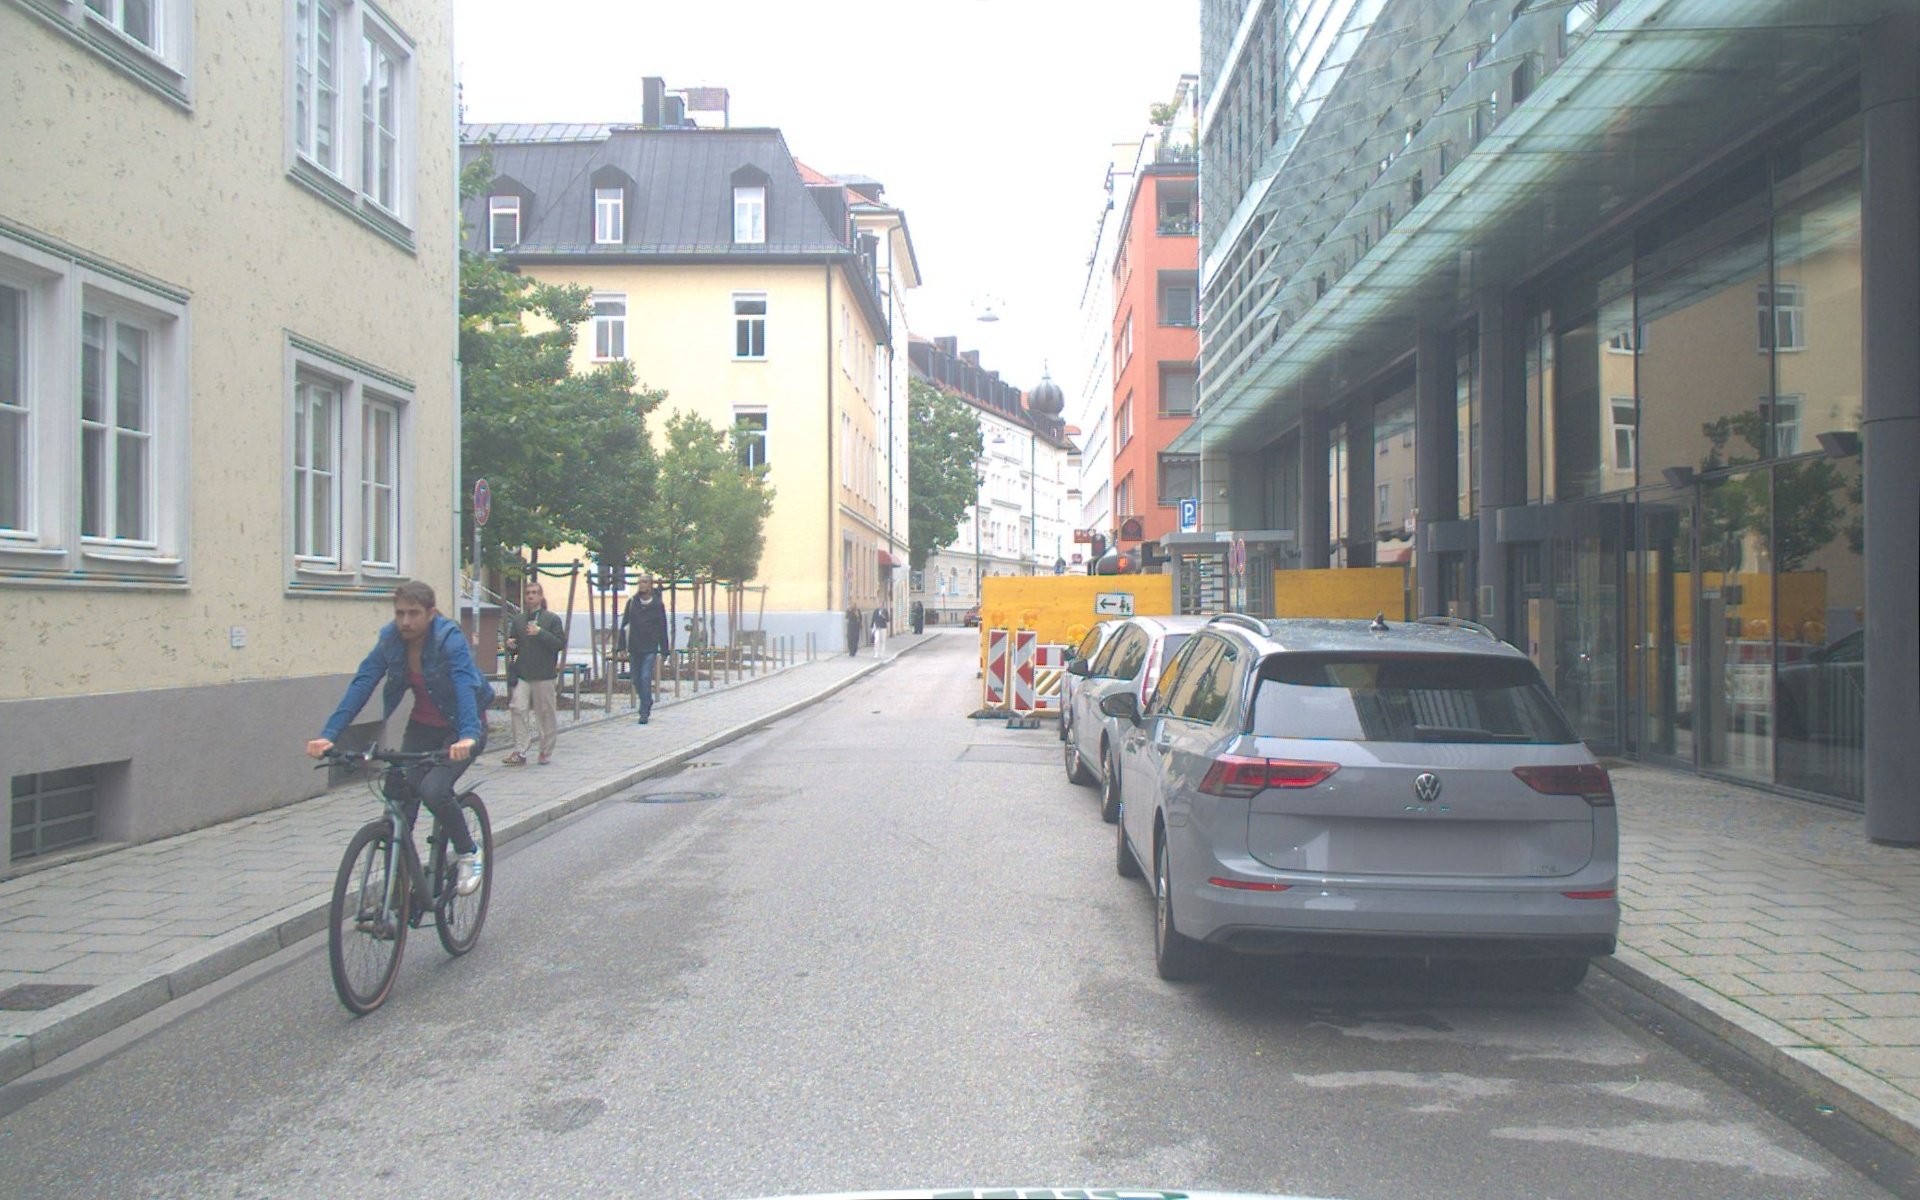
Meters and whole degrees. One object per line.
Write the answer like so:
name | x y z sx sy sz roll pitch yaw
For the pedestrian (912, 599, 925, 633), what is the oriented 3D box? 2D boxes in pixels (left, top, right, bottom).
pedestrian | -2.093 0.801 83.043 0.621 1.704 0.517 1 0 1

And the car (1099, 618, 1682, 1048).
car | 1.654 0.819 7.826 1.673 1.457 4.329 0 0 1

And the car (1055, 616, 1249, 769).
car | 1.991 0.920 18.276 1.672 1.439 4.510 1 -1 1

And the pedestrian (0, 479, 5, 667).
pedestrian | -3.890 0.493 5.497 0.741 1.887 1.077 1 -1 1

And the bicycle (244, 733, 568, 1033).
bicycle | -2.186 1.080 6.792 0.693 0.921 1.809 -1 0 1

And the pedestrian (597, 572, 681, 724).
pedestrian | -4.160 0.616 21.519 0.850 1.914 1.135 1 -1 0

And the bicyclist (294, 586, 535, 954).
bicyclist | -2.193 0.652 6.733 0.693 1.395 0.813 -1 -1 1

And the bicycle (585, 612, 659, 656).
bicycle | -9.714 0.977 47.514 2.000 1.218 0.570 0 0 8

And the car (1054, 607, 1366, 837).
car | 1.786 0.835 13.120 1.673 1.493 4.235 1 -1 -2

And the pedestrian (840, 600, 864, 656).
pedestrian | -3.273 0.846 50.306 0.656 1.677 0.761 1 -1 0

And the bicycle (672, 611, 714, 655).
bicycle | -7.334 0.895 45.537 0.499 1.164 2.054 1 0 9

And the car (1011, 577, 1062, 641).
car | 3.212 0.373 70.403 1.952 2.581 4.975 1 0 0

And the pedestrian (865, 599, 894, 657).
pedestrian | -2.434 0.850 50.136 0.822 1.730 0.803 1 -1 1

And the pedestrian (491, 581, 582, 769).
pedestrian | -3.934 0.684 15.418 0.634 1.706 0.724 1 -1 0
